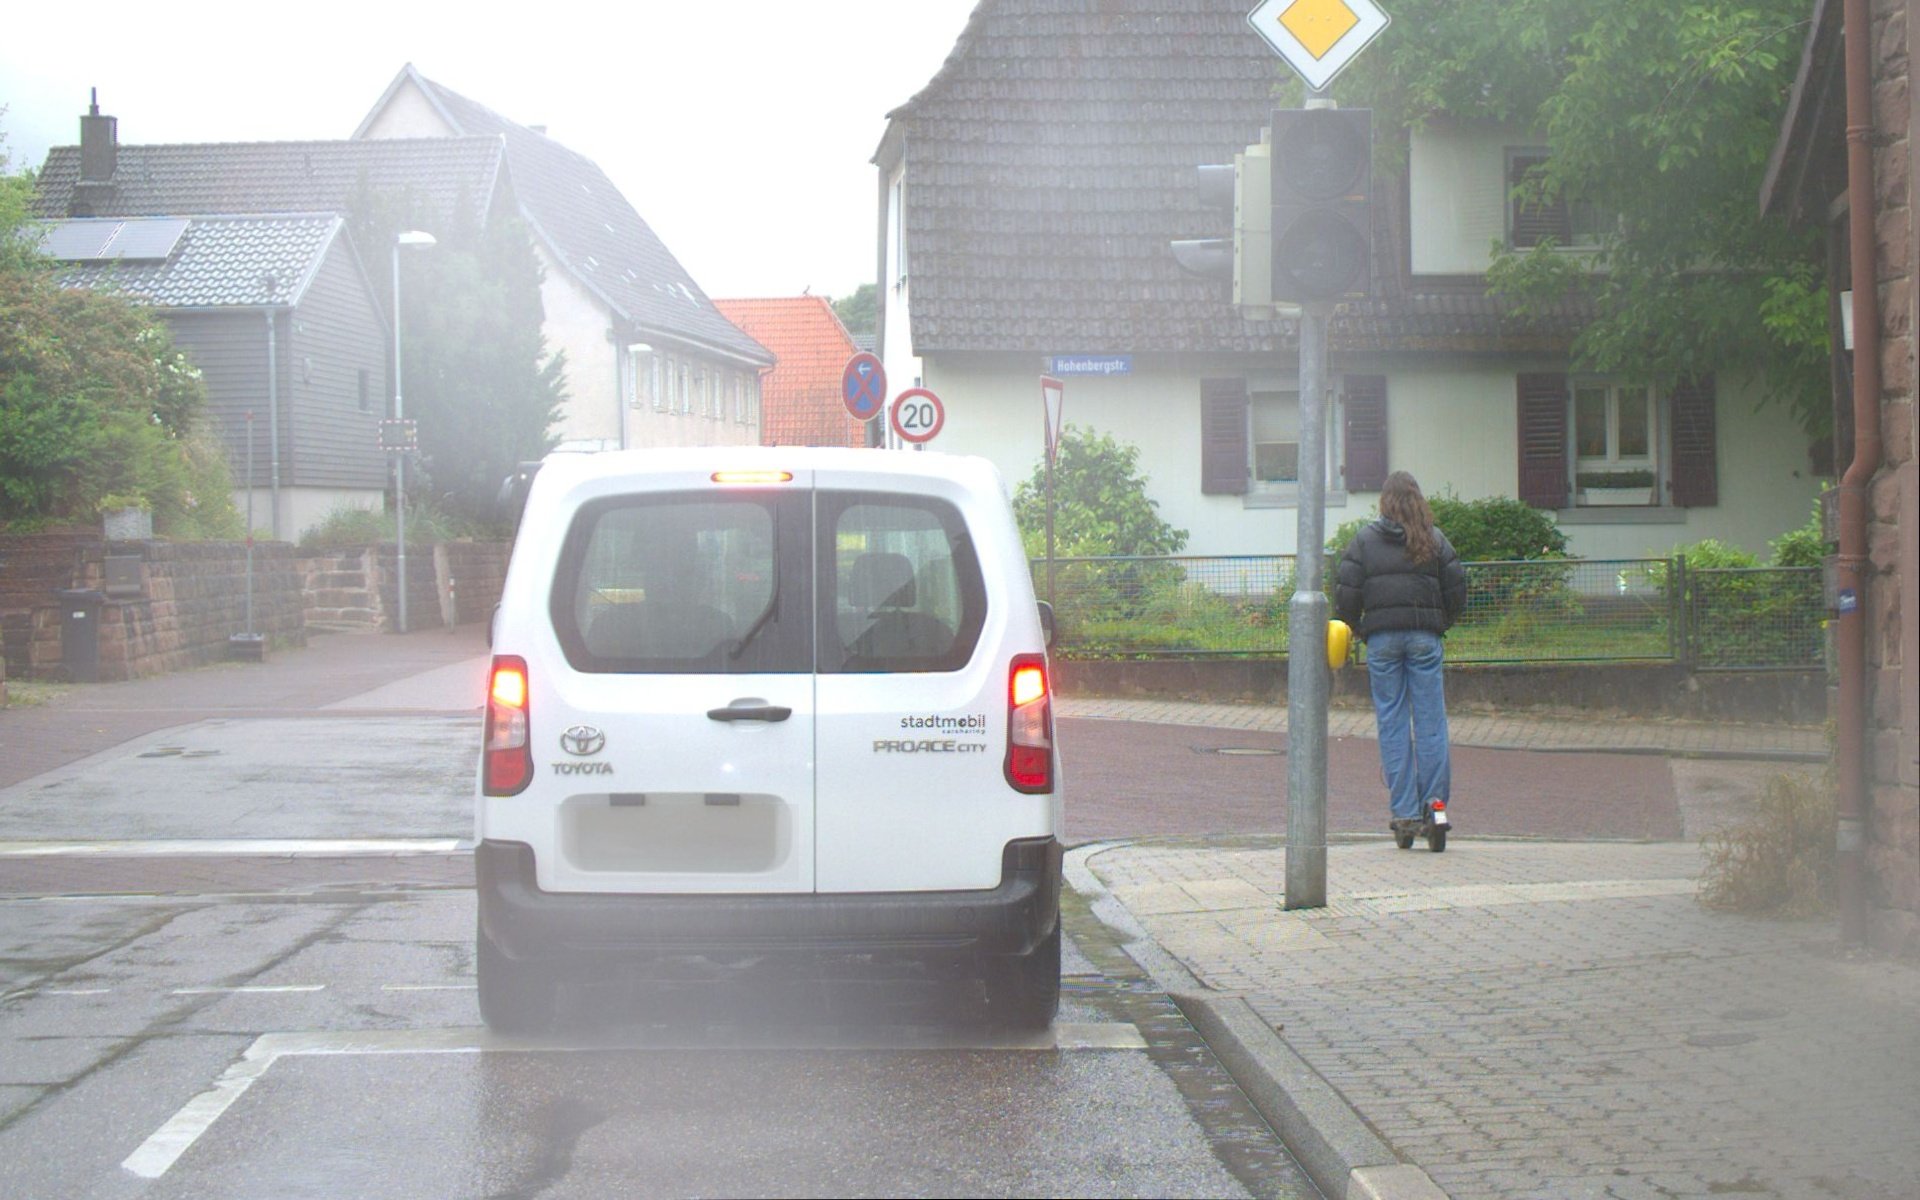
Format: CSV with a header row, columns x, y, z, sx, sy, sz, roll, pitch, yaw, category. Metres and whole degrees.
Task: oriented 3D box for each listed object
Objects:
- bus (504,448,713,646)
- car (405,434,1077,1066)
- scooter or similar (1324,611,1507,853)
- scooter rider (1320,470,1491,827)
x,y,z,sx,sy,sz,roll,pitch,yaw,category
-5.771,-1.078,58.350,2.649,2.989,12.195,0,3,-2,bus
-0.721,0.393,11.716,1.894,1.787,3.814,1,1,-3,car
2.206,0.646,16.791,0.620,1.123,1.402,0,-2,-3,scooter or similar
2.189,0.243,16.947,0.731,1.727,0.518,0,-3,-3,scooter rider
